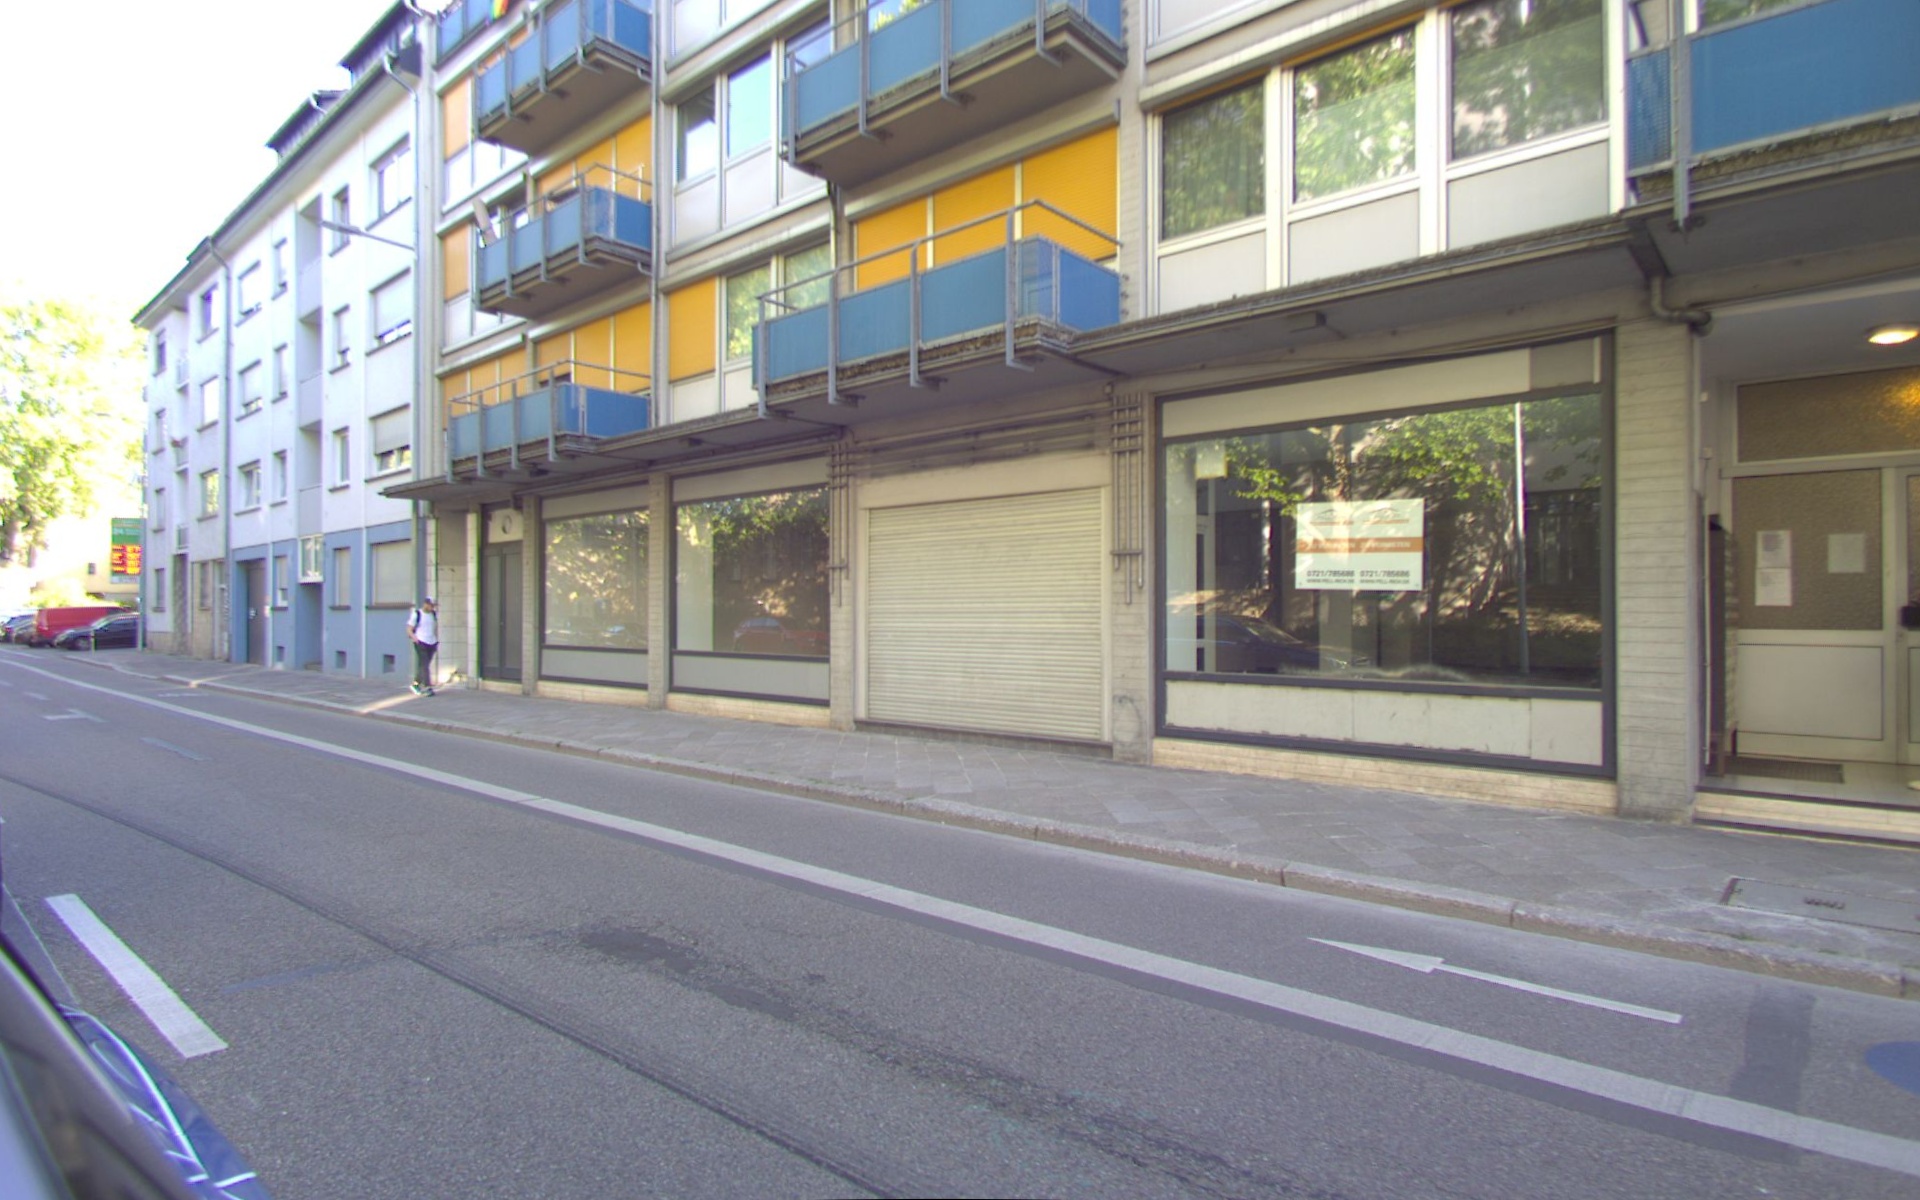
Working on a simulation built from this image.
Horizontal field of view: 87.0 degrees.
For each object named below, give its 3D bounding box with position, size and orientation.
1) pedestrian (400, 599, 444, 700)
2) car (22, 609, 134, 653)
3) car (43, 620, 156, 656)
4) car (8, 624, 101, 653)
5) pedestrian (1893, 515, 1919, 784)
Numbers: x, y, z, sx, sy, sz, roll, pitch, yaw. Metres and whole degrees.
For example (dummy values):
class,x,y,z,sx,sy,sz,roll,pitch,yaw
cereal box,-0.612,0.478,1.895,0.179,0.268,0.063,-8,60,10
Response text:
class,x,y,z,sx,sy,sz,roll,pitch,yaw
pedestrian,-9.552,0.869,17.983,0.343,1.739,0.562,-1,0,41
car,-42.322,1.444,48.625,1.635,1.937,3.878,-1,0,40
car,-38.319,1.658,45.133,1.635,1.422,3.623,-1,0,41
car,-44.638,1.864,49.934,1.294,1.258,3.283,-1,0,40
pedestrian,6.553,0.321,6.482,0.623,1.754,0.526,-1,-1,8
